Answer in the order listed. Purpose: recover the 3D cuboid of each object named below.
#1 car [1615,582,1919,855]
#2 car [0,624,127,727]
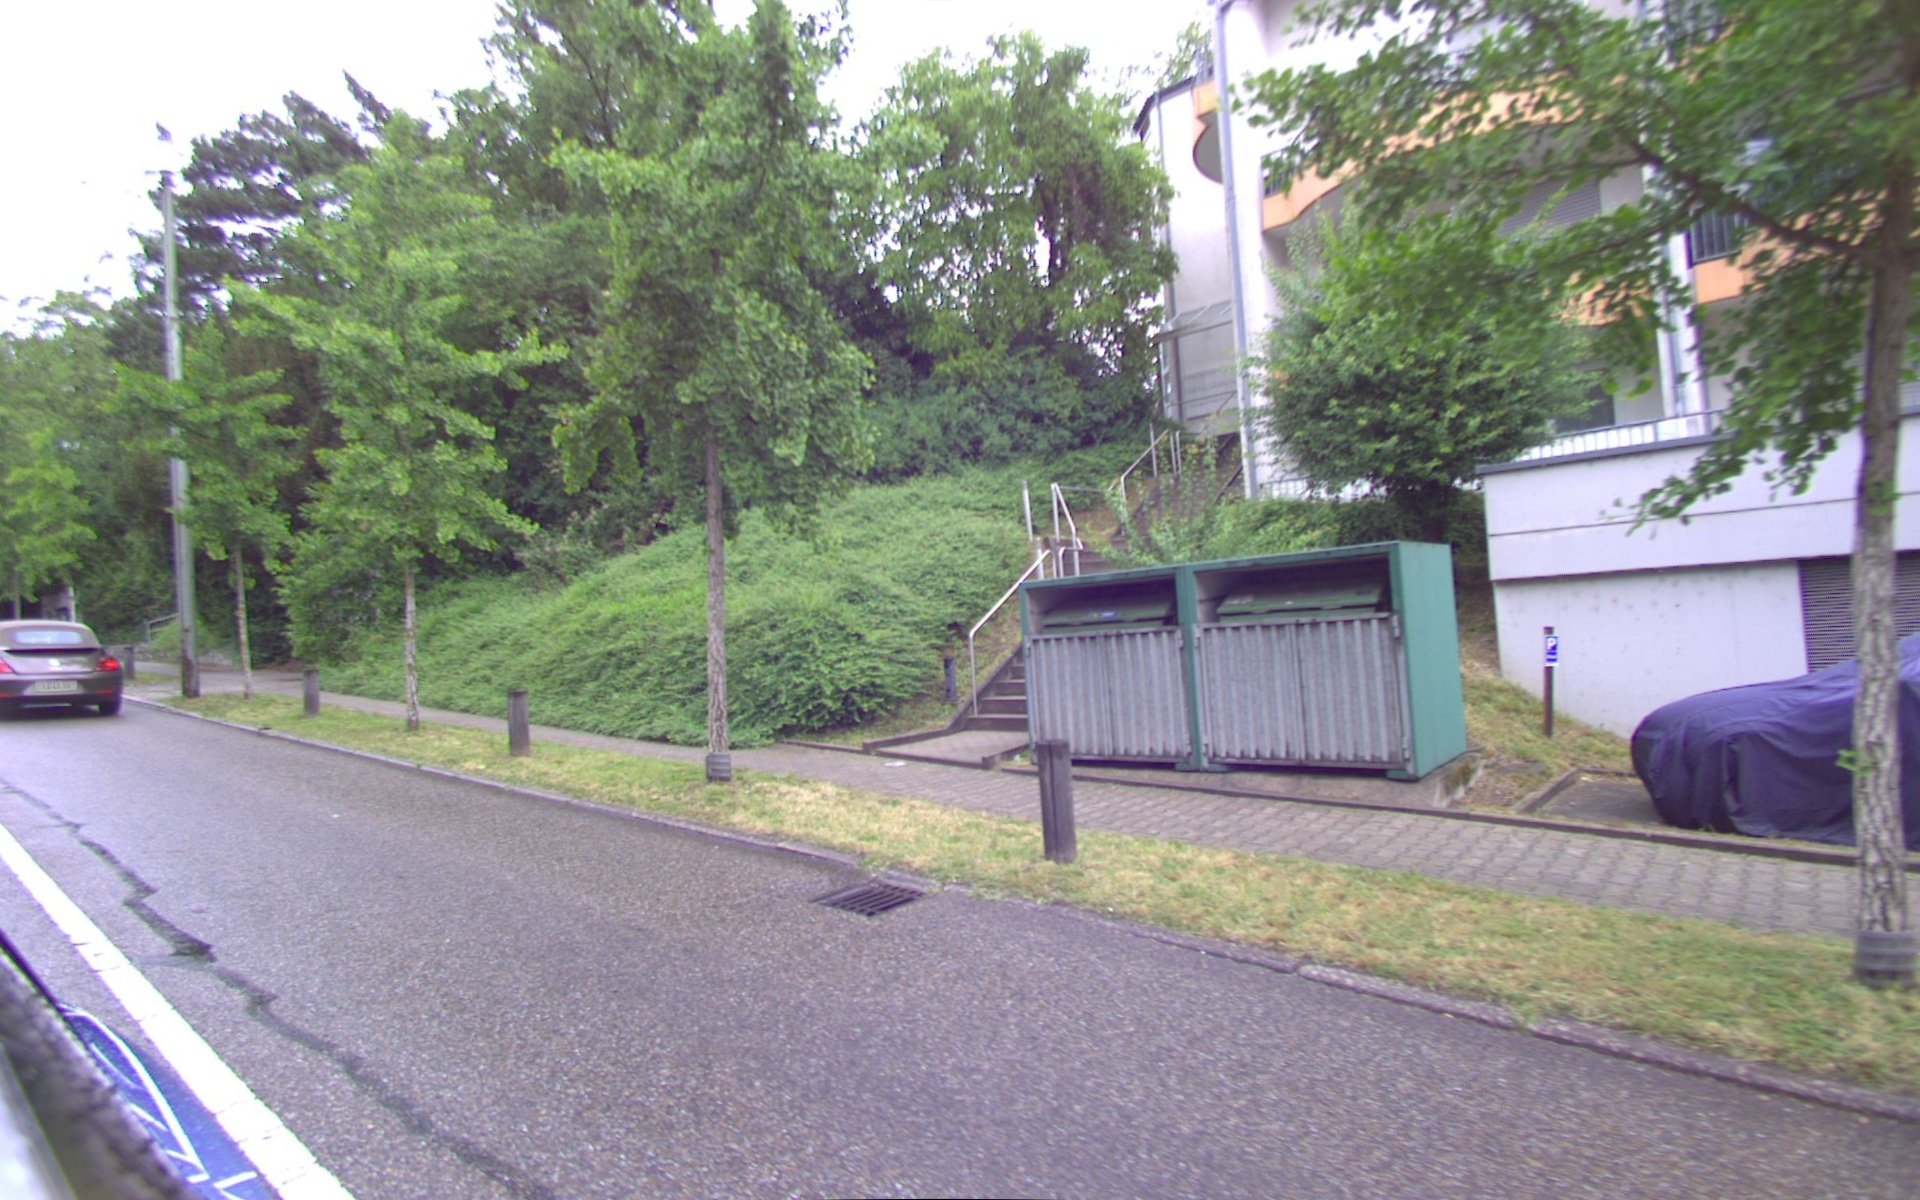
[{"bbox_3d":[6.532,0.726,6.140,4.095,1.573,1.759,-2,-5,41],"label":"car"},{"bbox_3d":[-14.879,1.134,16.147,3.997,1.459,1.759,-2,-3,40],"label":"car"}]
